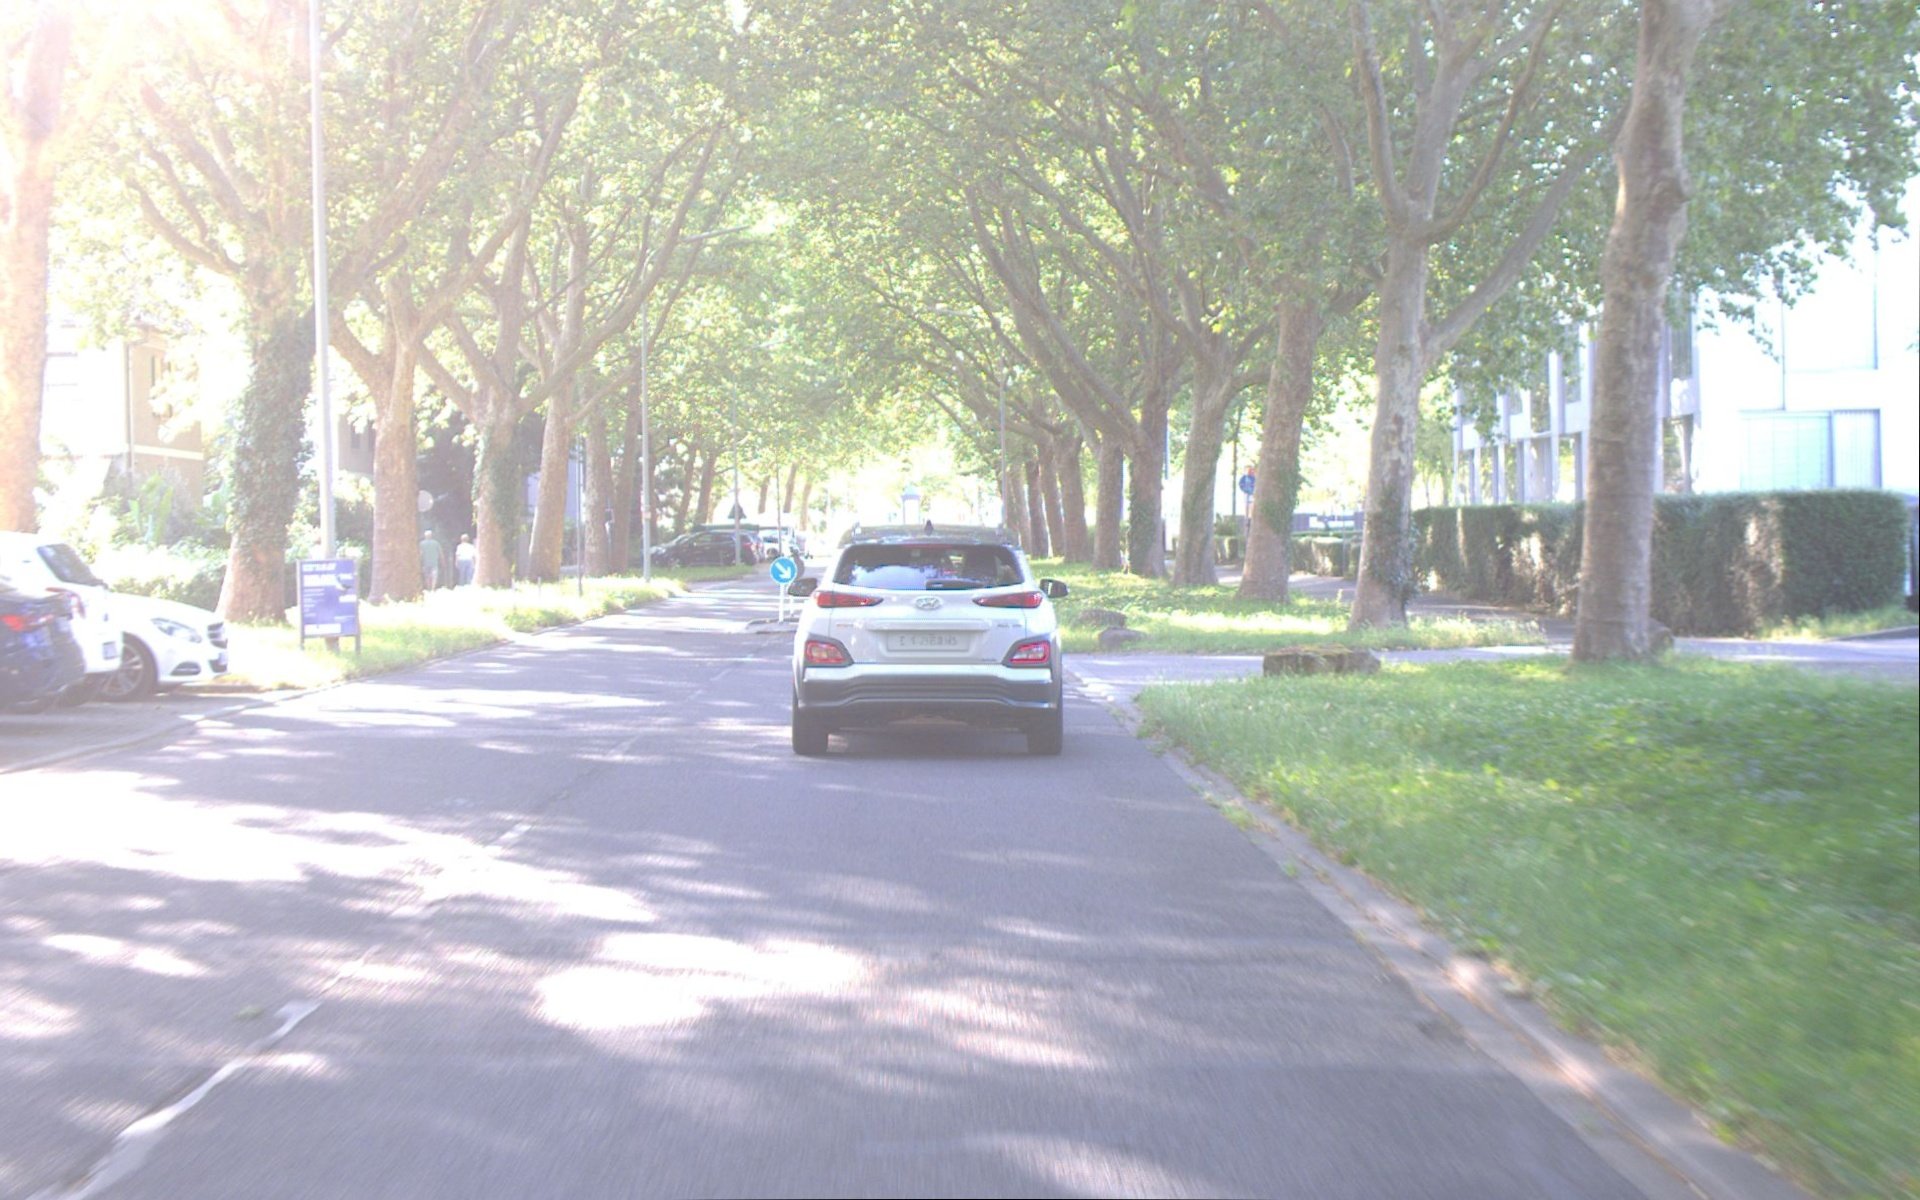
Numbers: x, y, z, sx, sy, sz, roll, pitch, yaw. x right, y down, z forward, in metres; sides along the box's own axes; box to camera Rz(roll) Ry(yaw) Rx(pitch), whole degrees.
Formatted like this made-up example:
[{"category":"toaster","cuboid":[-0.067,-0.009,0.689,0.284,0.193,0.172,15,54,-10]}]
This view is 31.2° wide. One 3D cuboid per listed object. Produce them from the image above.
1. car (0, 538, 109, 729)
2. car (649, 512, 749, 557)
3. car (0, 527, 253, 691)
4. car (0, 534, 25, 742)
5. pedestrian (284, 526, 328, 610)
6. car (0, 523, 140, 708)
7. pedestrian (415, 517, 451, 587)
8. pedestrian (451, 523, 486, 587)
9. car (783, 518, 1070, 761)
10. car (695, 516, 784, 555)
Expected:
[{"category":"car","cuboid":[-8.747,0.245,26.522,3.986,1.419,1.809,0,1,-5]},{"category":"car","cuboid":[-10.536,-2.625,138.424,3.986,1.766,2.000,0,1,-5]},{"category":"car","cuboid":[-8.714,0.065,31.745,3.987,1.465,1.809,0,1,1]},{"category":"car","cuboid":[-8.761,0.283,24.005,3.986,1.465,1.781,0,1,-2]},{"category":"pedestrian","cuboid":[-13.469,-0.661,70.840,0.749,1.701,0.793,-1,1,-1]},{"category":"car","cuboid":[-9.154,0.116,29.142,3.986,1.515,1.809,0,1,-2]},{"category":"pedestrian","cuboid":[-14.120,-1.283,92.157,0.749,1.867,0.793,0,1,-26]},{"category":"pedestrian","cuboid":[-13.197,-1.202,92.312,0.749,1.701,0.793,0,1,-25]},{"category":"car","cuboid":[-0.257,0.226,24.270,1.835,1.550,4.000,1,1,-1]},{"category":"car","cuboid":[-10.107,-2.974,157.468,3.986,1.766,2.000,0,1,-5]}]
